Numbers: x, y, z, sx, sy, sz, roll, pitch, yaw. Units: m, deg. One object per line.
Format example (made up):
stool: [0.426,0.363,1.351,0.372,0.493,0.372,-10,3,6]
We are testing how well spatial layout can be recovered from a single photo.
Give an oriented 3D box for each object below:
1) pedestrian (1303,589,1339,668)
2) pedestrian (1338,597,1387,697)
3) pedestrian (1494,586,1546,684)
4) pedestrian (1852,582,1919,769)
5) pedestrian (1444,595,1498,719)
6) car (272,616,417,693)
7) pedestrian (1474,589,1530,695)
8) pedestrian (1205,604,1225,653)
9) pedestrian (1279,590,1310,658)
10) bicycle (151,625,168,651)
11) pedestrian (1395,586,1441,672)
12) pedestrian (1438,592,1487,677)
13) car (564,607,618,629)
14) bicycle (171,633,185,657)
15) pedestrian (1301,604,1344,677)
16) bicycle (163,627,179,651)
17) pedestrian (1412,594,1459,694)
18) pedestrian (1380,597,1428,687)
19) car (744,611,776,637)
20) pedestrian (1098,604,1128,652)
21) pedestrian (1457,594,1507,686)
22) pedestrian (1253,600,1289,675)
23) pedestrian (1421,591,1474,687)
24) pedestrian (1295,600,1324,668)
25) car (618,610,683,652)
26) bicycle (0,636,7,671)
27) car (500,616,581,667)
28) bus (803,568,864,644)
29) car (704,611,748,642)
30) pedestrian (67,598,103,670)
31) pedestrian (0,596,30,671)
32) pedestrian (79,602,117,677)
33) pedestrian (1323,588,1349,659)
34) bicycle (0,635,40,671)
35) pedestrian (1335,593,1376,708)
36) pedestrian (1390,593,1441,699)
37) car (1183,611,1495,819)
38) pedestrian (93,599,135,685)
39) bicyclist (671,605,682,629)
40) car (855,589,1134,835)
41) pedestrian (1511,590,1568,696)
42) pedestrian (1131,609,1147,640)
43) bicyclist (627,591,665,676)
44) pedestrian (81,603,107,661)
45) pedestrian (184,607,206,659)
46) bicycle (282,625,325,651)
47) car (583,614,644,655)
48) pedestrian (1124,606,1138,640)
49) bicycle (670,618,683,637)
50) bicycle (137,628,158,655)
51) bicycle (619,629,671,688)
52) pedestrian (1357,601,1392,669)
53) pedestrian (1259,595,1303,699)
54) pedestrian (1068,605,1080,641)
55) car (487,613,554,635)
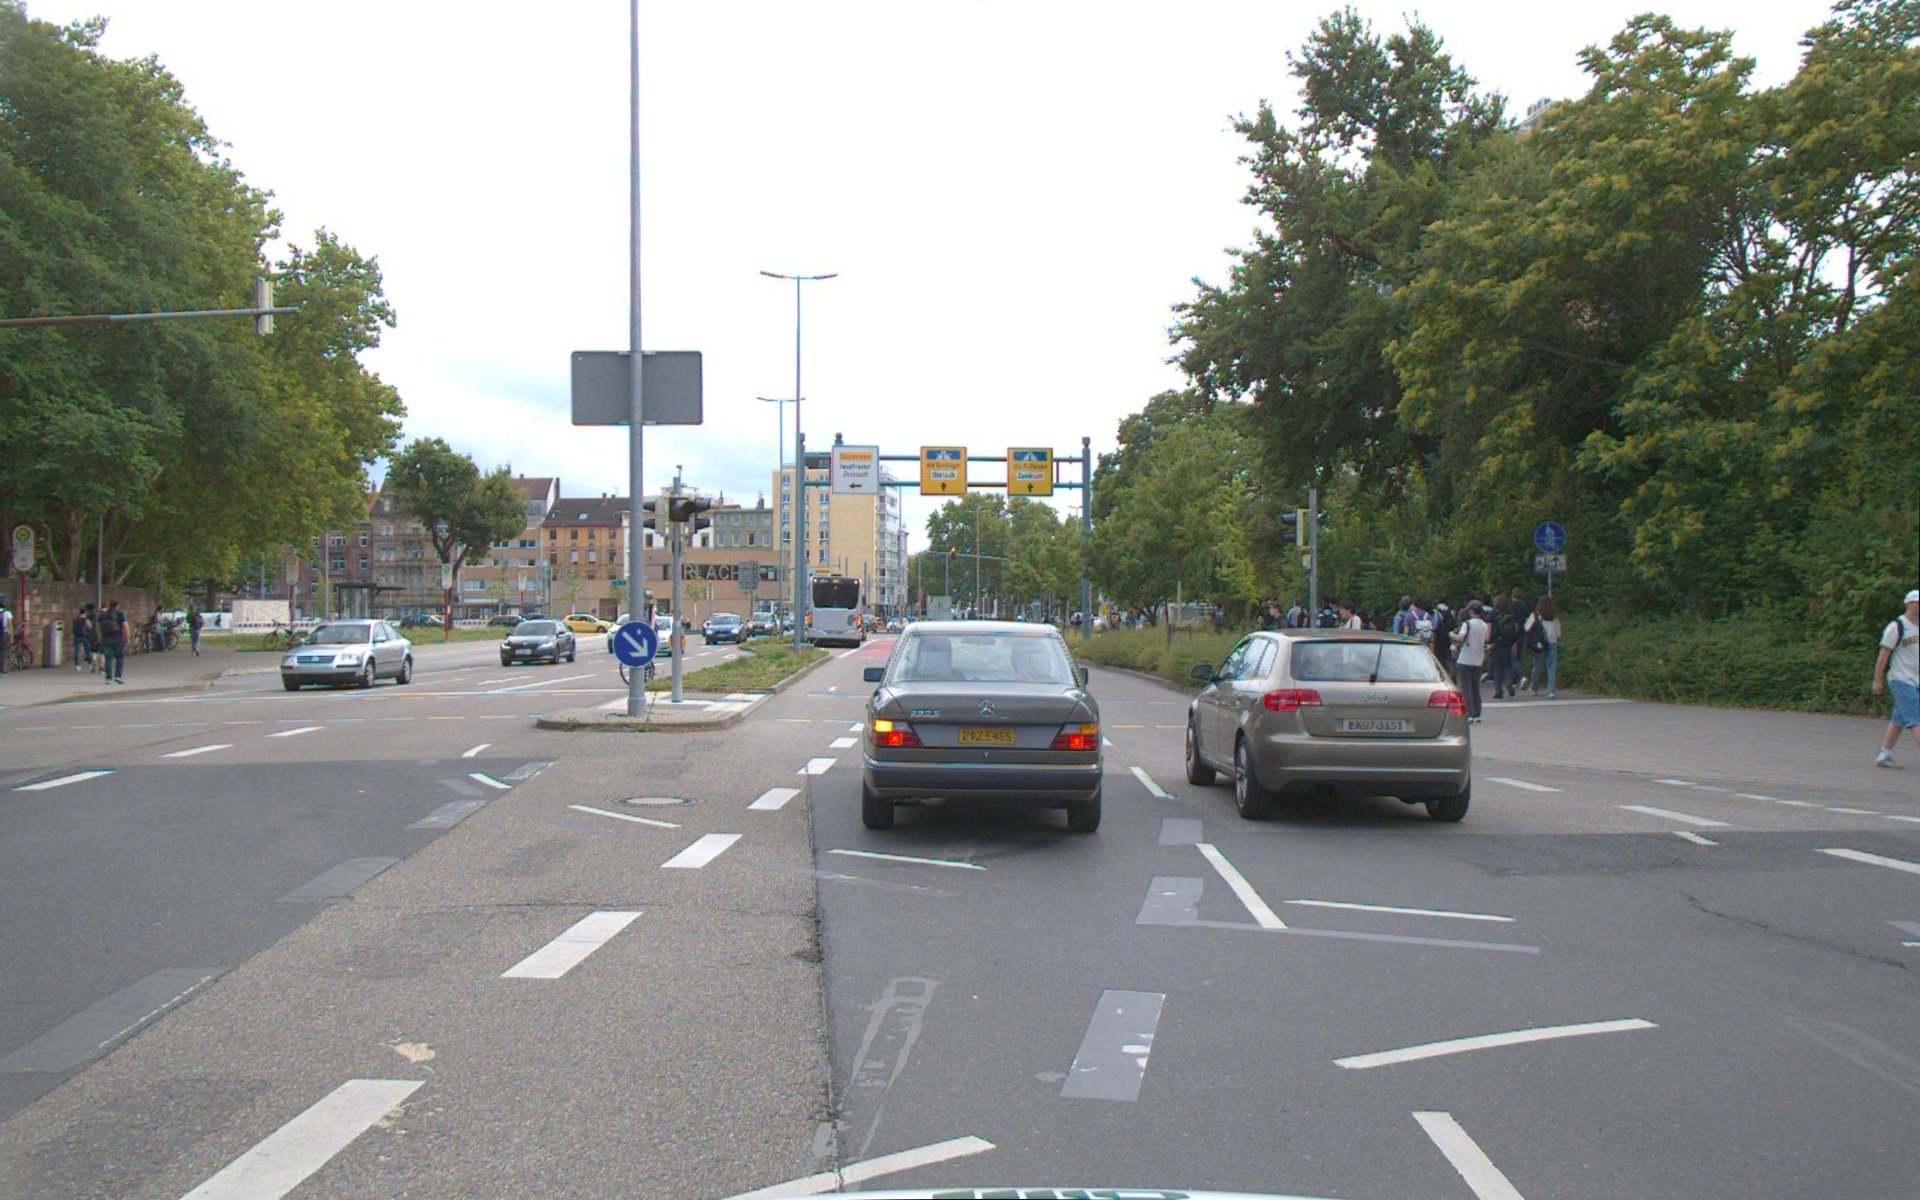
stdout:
pedestrian: [8.555,0.668,39.198,0.643,1.853,0.812,0,-1,-2]
pedestrian: [7.273,0.833,29.894,0.643,1.776,0.779,0,-1,-4]
pedestrian: [10.327,0.640,30.534,0.643,1.776,0.779,0,-1,-4]
pedestrian: [9.868,0.771,17.211,0.634,1.885,0.825,1,-1,-16]
pedestrian: [7.196,0.797,23.316,0.535,1.716,0.636,0,-1,-5]
car: [-13.026,1.101,35.293,1.727,1.515,4.541,0,0,-5]
pedestrian: [9.181,0.705,28.019,0.643,1.776,0.779,0,-1,-4]
pedestrian: [8.964,1.003,58.181,0.575,1.712,0.748,0,-1,-2]
pedestrian: [8.707,0.619,43.061,0.606,1.766,0.814,0,-1,-2]
bicycle: [-28.626,1.342,59.133,0.341,0.893,1.513,3,-2,-19]
pedestrian: [9.284,0.584,33.573,0.643,1.719,0.841,0,-1,-4]
pedestrian: [10.214,0.702,33.646,0.643,1.696,0.970,0,-1,-4]
car: [-27.706,1.373,124.257,3.783,1.544,1.658,1,-1,-7]
bicycle: [-31.300,1.786,66.196,0.475,0.923,1.608,0,-1,-25]
pedestrian: [8.262,0.918,37.731,0.760,1.630,0.812,0,-1,-2]
bicycle: [-30.181,1.488,63.284,0.435,0.893,1.609,3,-2,-23]
pedestrian: [8.562,0.790,29.820,0.569,1.776,0.789,0,-1,-4]
pedestrian: [8.414,0.783,31.368,0.643,1.677,0.811,0,-1,-4]
car: [-12.266,1.472,101.685,1.540,1.515,3.635,-2,0,-1]
pedestrian: [5.964,1.096,64.329,0.915,1.862,0.886,-1,-1,25]
pedestrian: [9.974,0.754,31.615,0.643,1.729,0.779,0,-1,-4]
pedestrian: [7.716,0.921,41.092,0.679,1.853,0.954,0,-1,-2]
pedestrian: [9.286,0.733,31.524,0.644,1.797,0.957,-1,-1,-4]
pedestrian: [8.672,0.841,41.031,0.544,1.684,0.753,0,-1,-2]
car: [-11.577,1.143,62.063,1.765,1.515,4.287,0,0,-2]
bicycle: [-22.987,1.275,38.922,0.433,0.811,1.616,2,0,-11]
car: [-14.180,1.359,56.163,1.860,1.644,4.740,0,0,-4]
bus: [-6.044,0.294,79.608,2.775,3.450,8.175,0,0,-4]
car: [-11.655,1.341,82.540,1.766,1.538,4.101,0,-2,-3]
pedestrian: [-22.313,0.873,42.174,0.751,1.814,0.775,1,-2,-31]
pedestrian: [-21.855,0.758,38.049,0.751,1.700,0.914,1,-1,-31]
pedestrian: [-21.025,0.974,40.341,0.751,1.814,0.914,1,-2,-31]
pedestrian: [9.612,0.597,42.286,0.474,1.794,0.664,0,-1,-2]
bicycle: [-23.421,1.311,41.140,0.433,0.811,1.616,2,0,-11]
pedestrian: [6.149,0.779,25.742,0.445,1.765,0.636,0,-1,-4]
pedestrian: [7.794,0.782,28.327,0.612,1.776,0.779,0,-1,-4]
car: [2.968,0.834,13.731,1.689,1.483,3.735,0,0,-1]
pedestrian: [-18.028,0.905,35.258,0.749,1.814,0.716,1,-2,-26]
bicyclist: [-17.532,1.056,102.409,0.569,1.444,0.810,0,-1,-4]
car: [0.147,0.701,12.300,1.726,1.515,4.169,0,0,-2]
pedestrian: [9.845,0.720,28.132,0.643,1.776,0.779,0,-1,-4]
pedestrian: [8.648,1.201,79.878,0.643,1.496,0.562,0,-1,15]
bicyclist: [-5.971,0.628,31.443,0.560,1.601,0.699,0,-1,2]
pedestrian: [-24.580,0.921,46.955,0.578,1.620,0.730,1,-2,-25]
pedestrian: [-24.811,1.072,53.620,0.551,1.697,0.623,1,-2,-19]
bicycle: [-24.578,1.405,61.972,0.460,0.935,2.340,0,-1,5]
car: [-14.606,1.419,69.872,1.827,1.681,4.420,0,-1,-2]
pedestrian: [8.729,1.175,84.289,0.632,1.743,0.562,0,-1,13]
bicycle: [-17.534,1.702,102.393,0.570,1.191,1.963,0,0,-4]
bicycle: [-27.986,1.419,56.977,0.410,0.893,1.547,3,-2,-19]
bicycle: [-5.973,1.098,31.464,0.561,1.074,1.926,0,0,2]
pedestrian: [10.003,0.835,39.902,0.623,1.611,0.785,0,-1,-2]
pedestrian: [5.494,0.799,28.332,0.589,1.765,0.654,0,-1,-5]
pedestrian: [6.586,1.316,95.406,0.602,2.049,0.597,0,-1,-4]
car: [-32.787,1.759,123.423,4.581,1.501,1.658,2,-1,-8]
